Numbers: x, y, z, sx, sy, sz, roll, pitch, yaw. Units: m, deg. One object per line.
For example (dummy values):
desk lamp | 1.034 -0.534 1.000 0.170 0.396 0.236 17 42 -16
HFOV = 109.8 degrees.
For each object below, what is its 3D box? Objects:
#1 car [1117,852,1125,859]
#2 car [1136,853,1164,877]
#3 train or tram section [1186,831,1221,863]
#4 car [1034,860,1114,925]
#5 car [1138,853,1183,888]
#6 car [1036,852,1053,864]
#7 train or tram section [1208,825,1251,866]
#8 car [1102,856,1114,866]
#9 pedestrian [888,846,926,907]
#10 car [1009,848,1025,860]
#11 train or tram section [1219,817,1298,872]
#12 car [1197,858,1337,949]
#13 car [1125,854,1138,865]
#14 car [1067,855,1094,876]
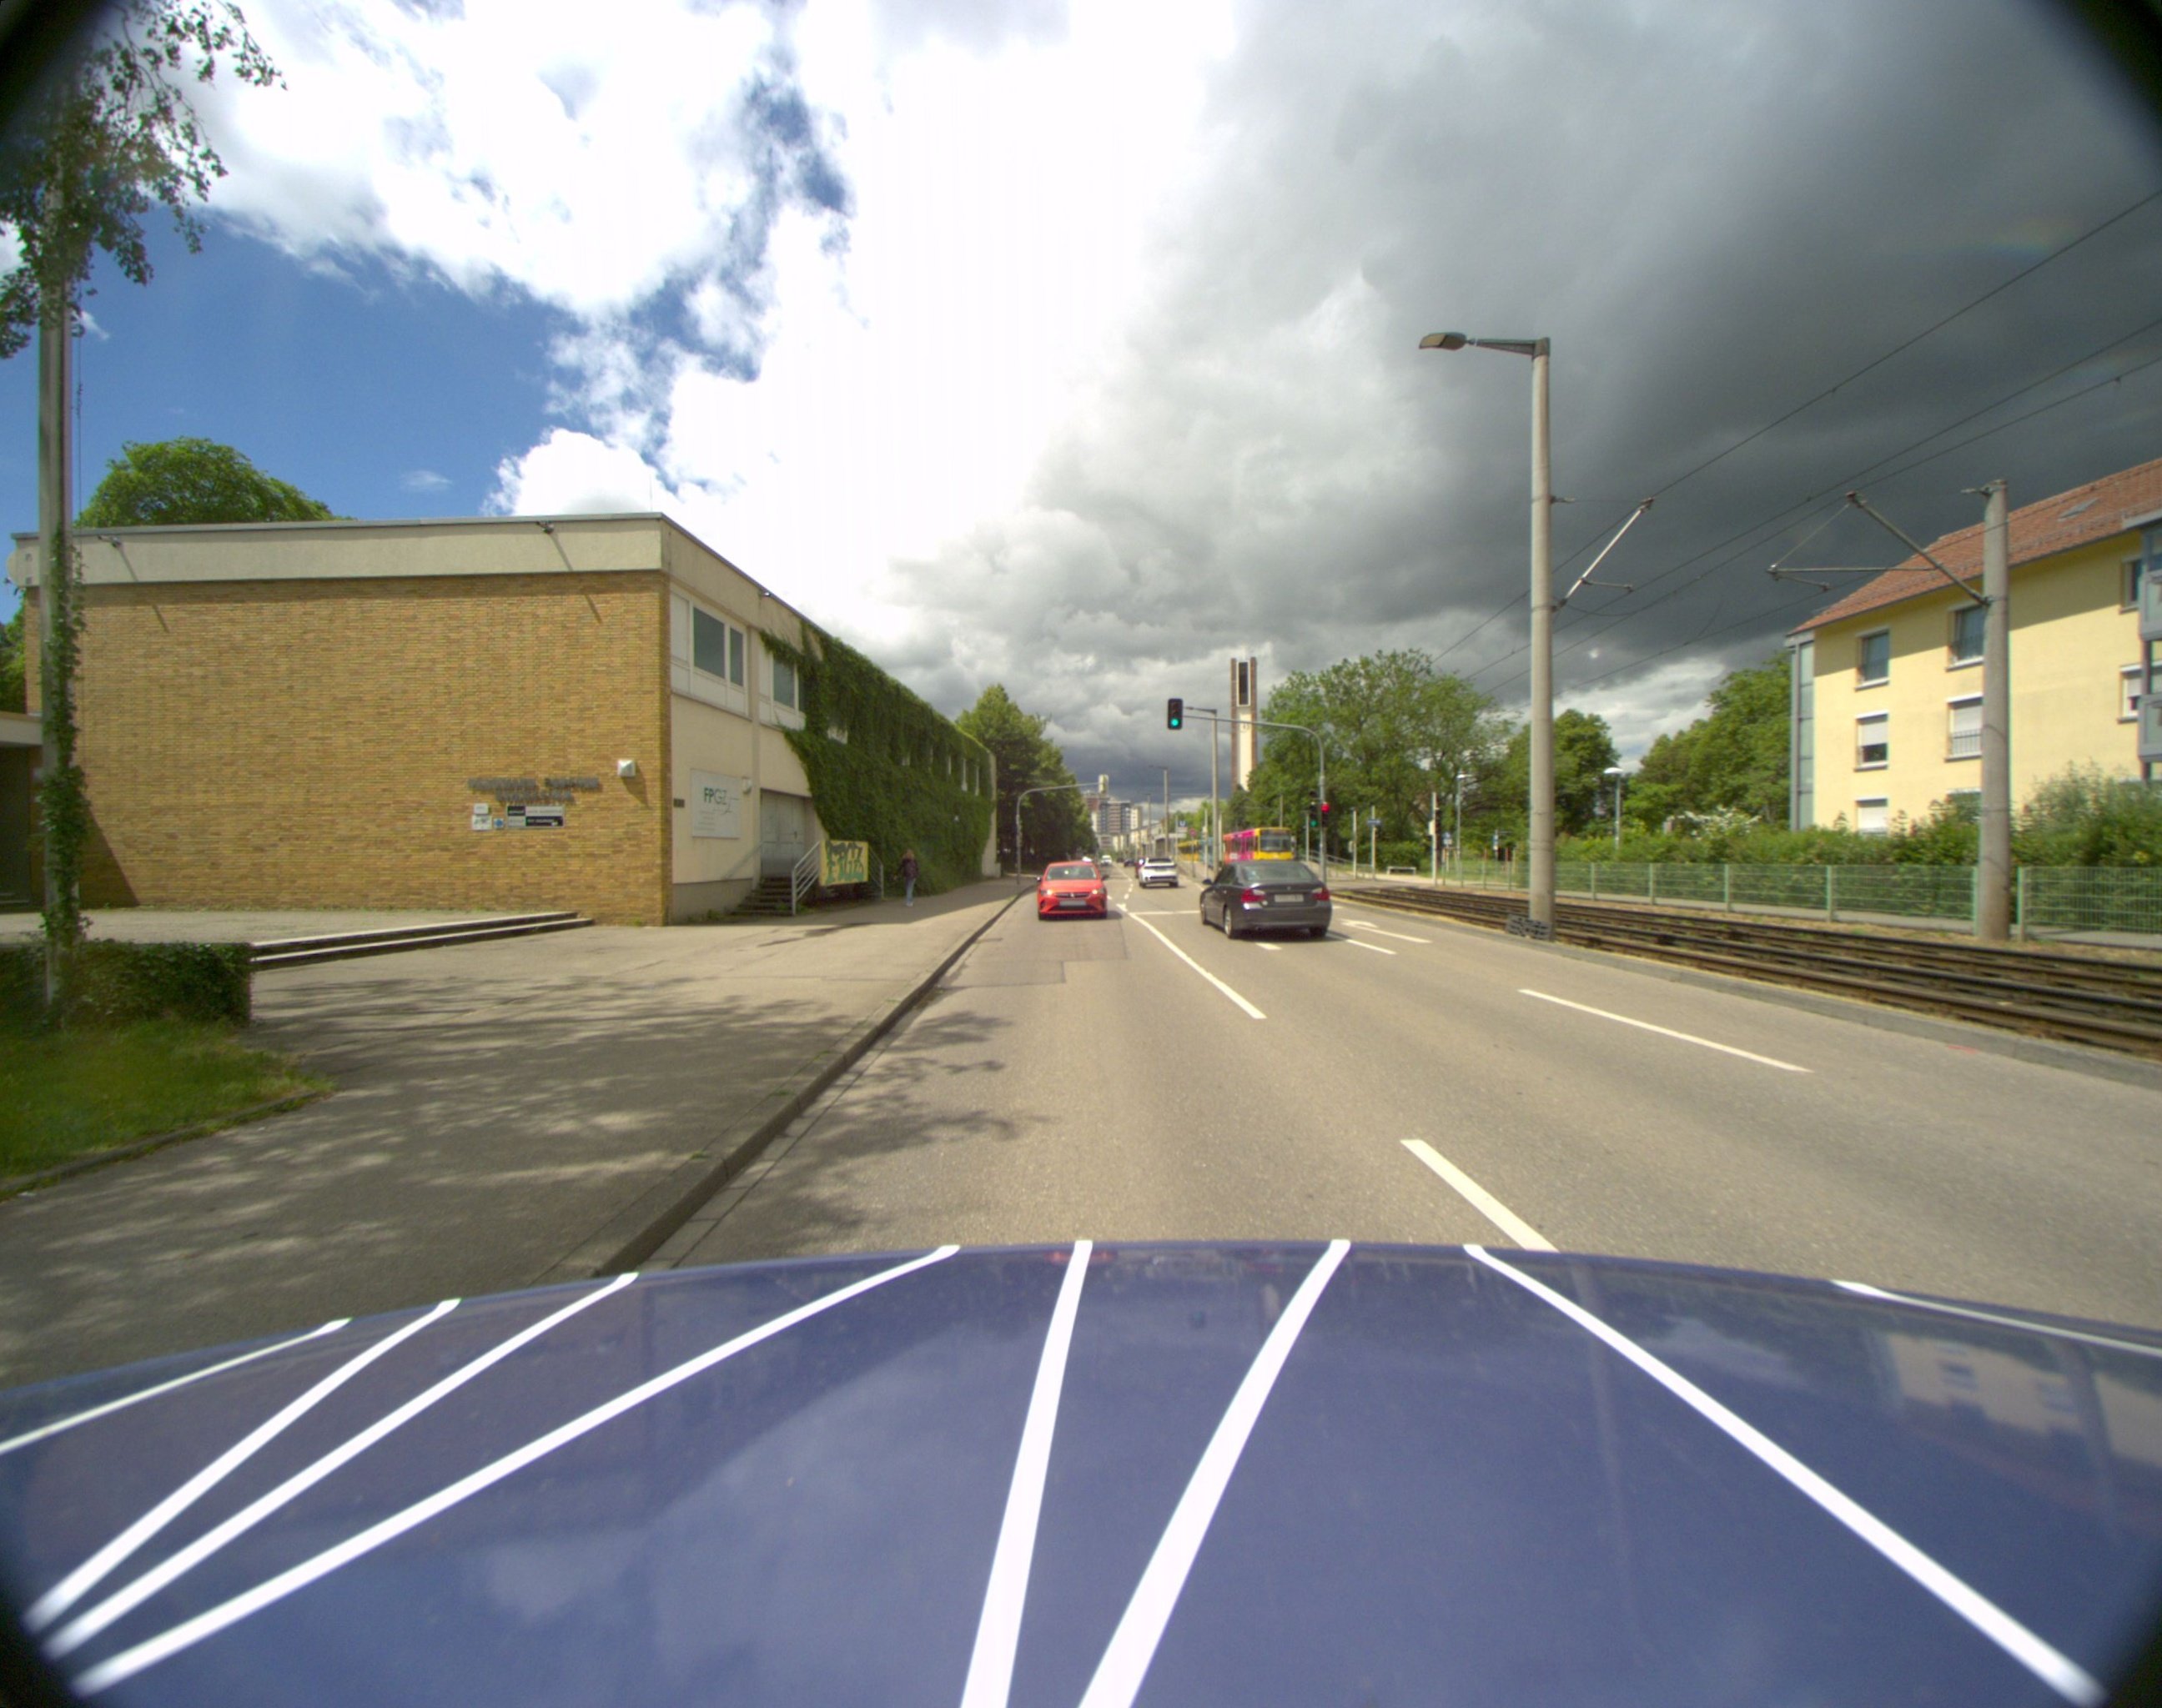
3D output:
car | 9.884 0.366 187.027 1.755 1.603 4.227 -1 1 4
car | 4.880 0.764 54.146 1.667 1.543 4.000 -2 0 1
train or tram section | 16.009 -0.925 100.052 2.987 3.840 12.201 -2 0 2
car | -0.075 0.924 20.124 1.755 1.433 4.227 -1 1 4
car | 3.843 0.772 37.238 1.764 1.543 4.000 -2 0 0
car | -5.141 0.536 106.791 1.655 1.533 3.678 -1 1 7
train or tram section | 15.134 -0.851 78.018 2.987 3.840 8.378 -2 0 2
car | 4.586 1.170 128.195 1.821 1.433 4.008 -1 1 0
pedestrian | -5.185 0.646 22.659 0.810 1.761 0.817 2 1 9
car | -8.412 -0.004 100.203 1.756 1.533 4.225 -1 1 -2
train or tram section | 14.602 -0.749 64.542 2.987 3.840 18.539 -2 0 2
car | 3.378 0.822 14.563 1.632 1.424 4.167 -2 0 0
car | 7.087 0.715 106.650 1.722 1.433 4.009 -1 1 2
car | -0.004 0.868 57.229 1.755 1.433 4.227 -1 1 4
